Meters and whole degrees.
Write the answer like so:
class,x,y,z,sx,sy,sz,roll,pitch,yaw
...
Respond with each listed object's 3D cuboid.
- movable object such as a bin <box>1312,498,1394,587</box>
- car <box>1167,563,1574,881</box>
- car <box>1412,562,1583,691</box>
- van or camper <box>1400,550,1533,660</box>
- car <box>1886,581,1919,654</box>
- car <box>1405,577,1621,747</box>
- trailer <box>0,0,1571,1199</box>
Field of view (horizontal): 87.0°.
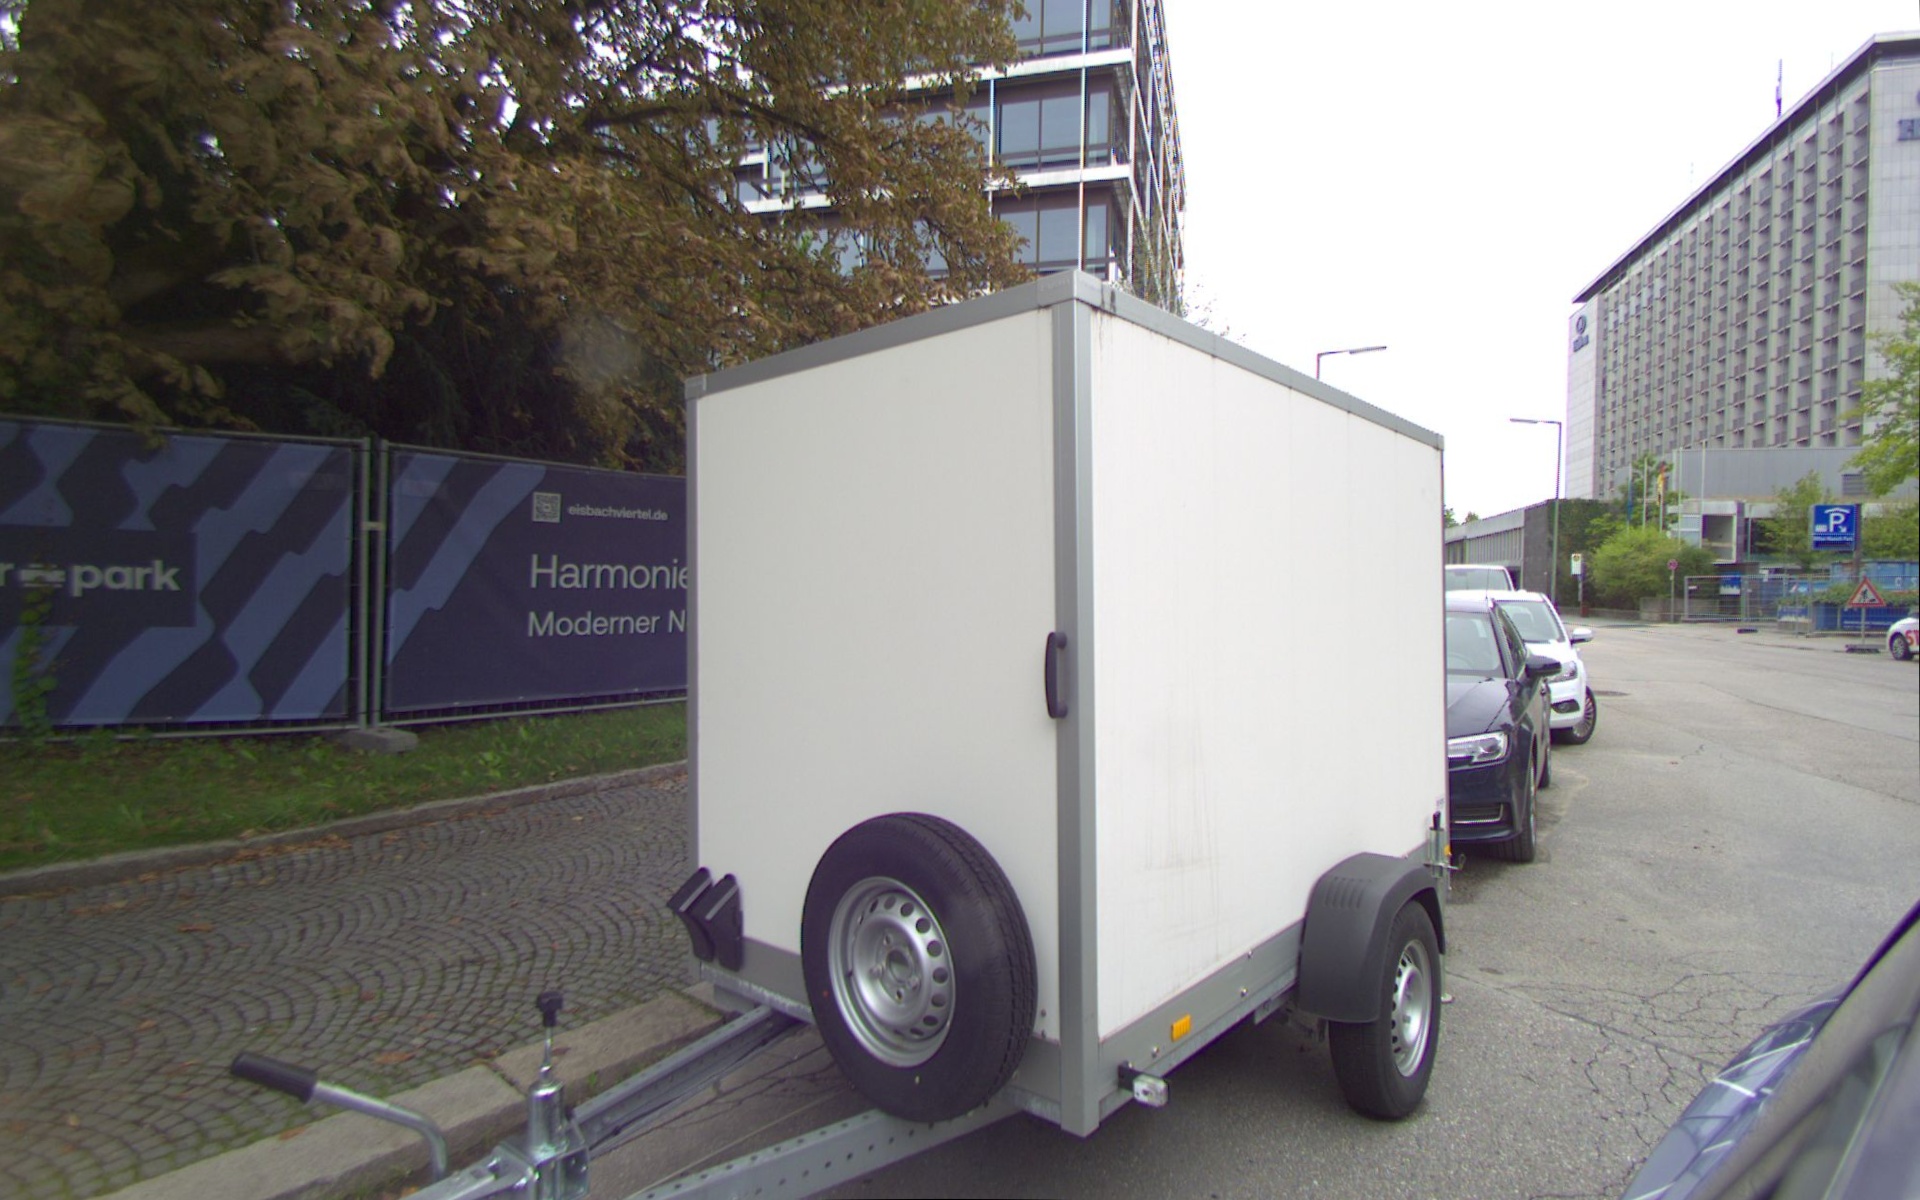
class,x,y,z,sx,sy,sz,roll,pitch,yaw
movable object such as a bin,18.264,-2.551,47.502,3.210,3.762,8.952,1,2,19
car,3.123,0.537,7.065,1.864,1.455,4.278,3,2,32
car,8.435,0.295,16.277,1.977,1.749,4.416,1,2,23
van or camper,10.643,0.015,21.650,1.976,2.038,5.340,1,2,21
car,21.252,0.410,20.545,1.755,1.569,4.240,1,1,14
car,6.139,0.519,11.363,1.756,1.504,4.179,1,1,28
trailer,-0.035,0.223,2.638,1.809,2.038,4.759,2,2,43
